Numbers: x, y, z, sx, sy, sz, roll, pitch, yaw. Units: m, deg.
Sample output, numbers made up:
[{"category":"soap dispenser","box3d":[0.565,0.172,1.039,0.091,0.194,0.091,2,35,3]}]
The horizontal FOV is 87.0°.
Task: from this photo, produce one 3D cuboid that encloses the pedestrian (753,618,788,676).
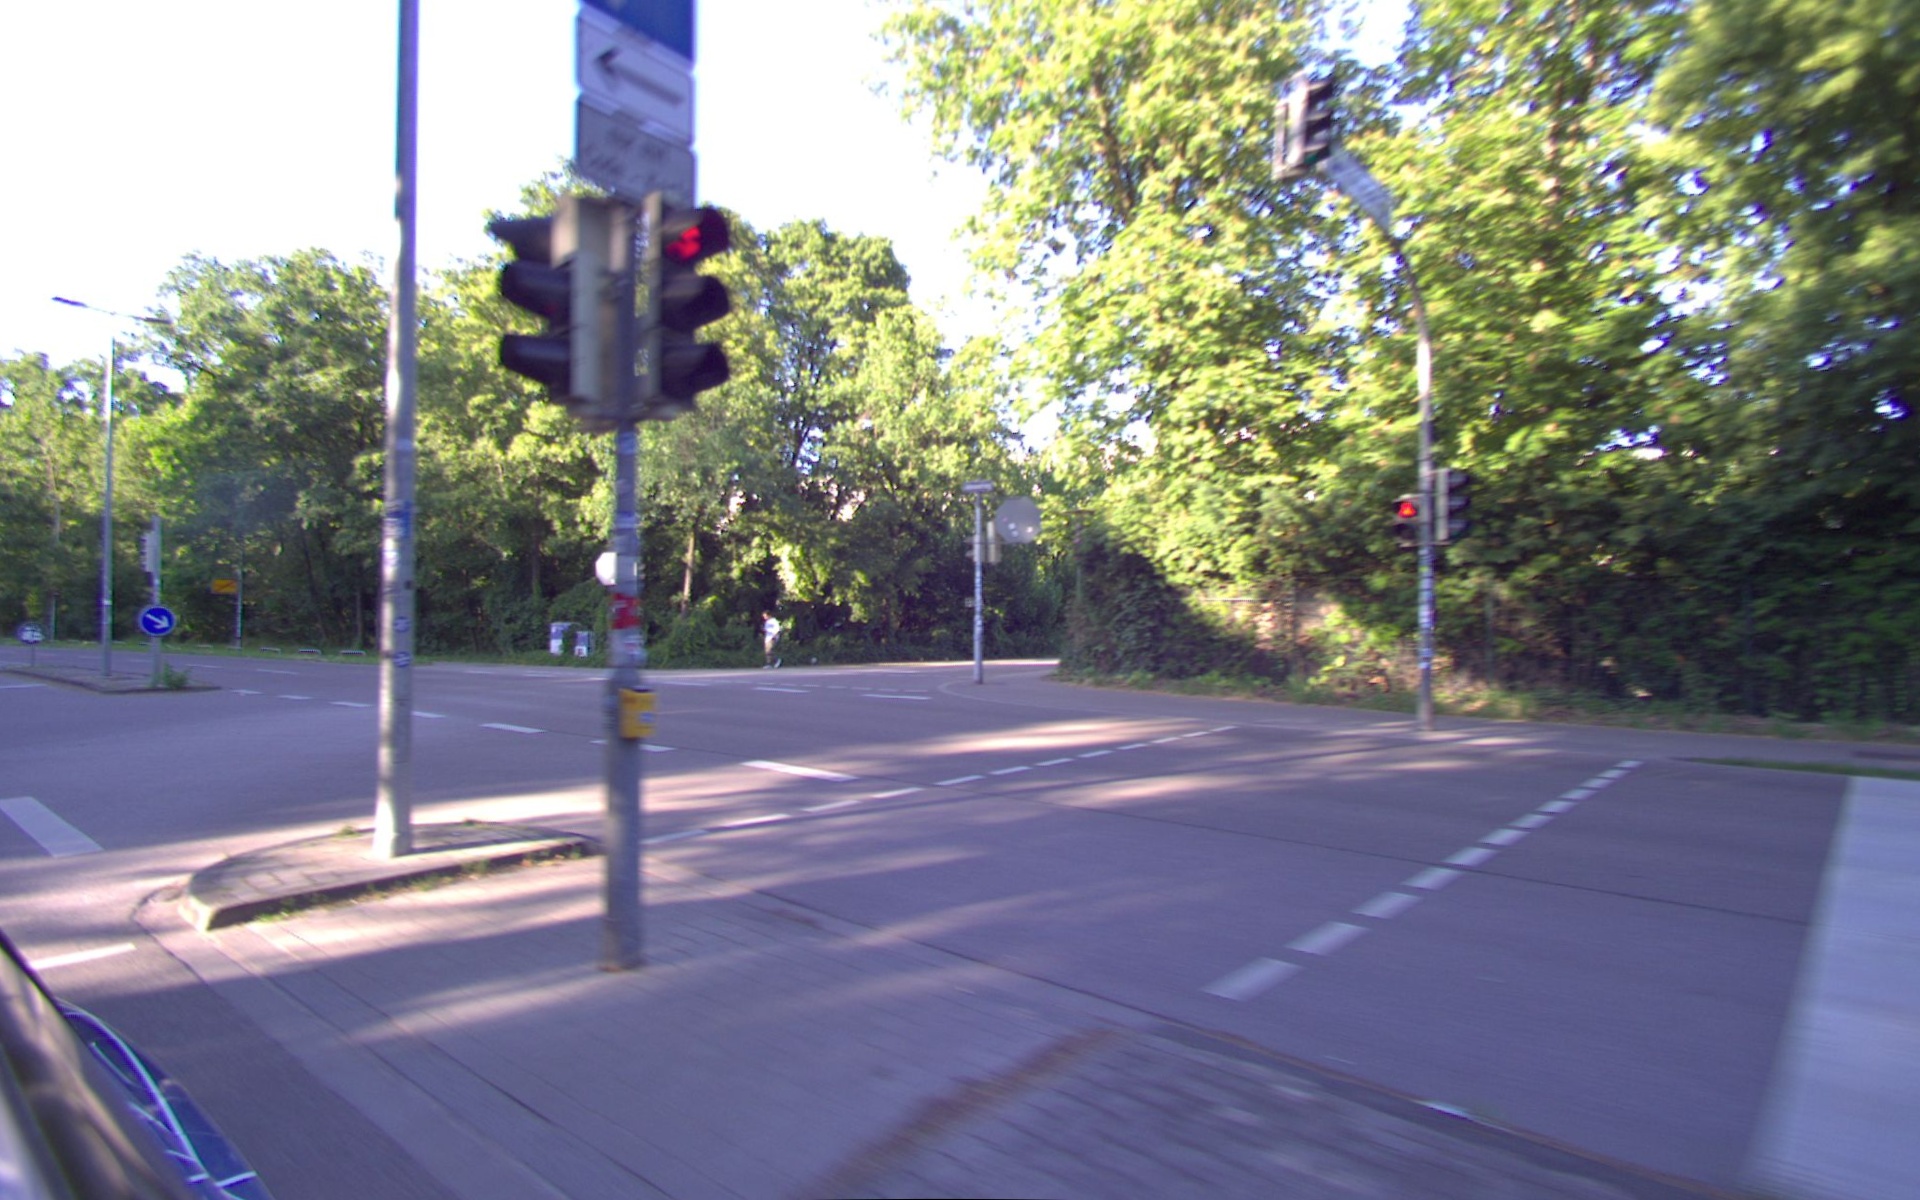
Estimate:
[{"category":"pedestrian","box3d":[-5.678,1.398,30.312,0.819,1.724,0.641,-1,-2,39]}]
